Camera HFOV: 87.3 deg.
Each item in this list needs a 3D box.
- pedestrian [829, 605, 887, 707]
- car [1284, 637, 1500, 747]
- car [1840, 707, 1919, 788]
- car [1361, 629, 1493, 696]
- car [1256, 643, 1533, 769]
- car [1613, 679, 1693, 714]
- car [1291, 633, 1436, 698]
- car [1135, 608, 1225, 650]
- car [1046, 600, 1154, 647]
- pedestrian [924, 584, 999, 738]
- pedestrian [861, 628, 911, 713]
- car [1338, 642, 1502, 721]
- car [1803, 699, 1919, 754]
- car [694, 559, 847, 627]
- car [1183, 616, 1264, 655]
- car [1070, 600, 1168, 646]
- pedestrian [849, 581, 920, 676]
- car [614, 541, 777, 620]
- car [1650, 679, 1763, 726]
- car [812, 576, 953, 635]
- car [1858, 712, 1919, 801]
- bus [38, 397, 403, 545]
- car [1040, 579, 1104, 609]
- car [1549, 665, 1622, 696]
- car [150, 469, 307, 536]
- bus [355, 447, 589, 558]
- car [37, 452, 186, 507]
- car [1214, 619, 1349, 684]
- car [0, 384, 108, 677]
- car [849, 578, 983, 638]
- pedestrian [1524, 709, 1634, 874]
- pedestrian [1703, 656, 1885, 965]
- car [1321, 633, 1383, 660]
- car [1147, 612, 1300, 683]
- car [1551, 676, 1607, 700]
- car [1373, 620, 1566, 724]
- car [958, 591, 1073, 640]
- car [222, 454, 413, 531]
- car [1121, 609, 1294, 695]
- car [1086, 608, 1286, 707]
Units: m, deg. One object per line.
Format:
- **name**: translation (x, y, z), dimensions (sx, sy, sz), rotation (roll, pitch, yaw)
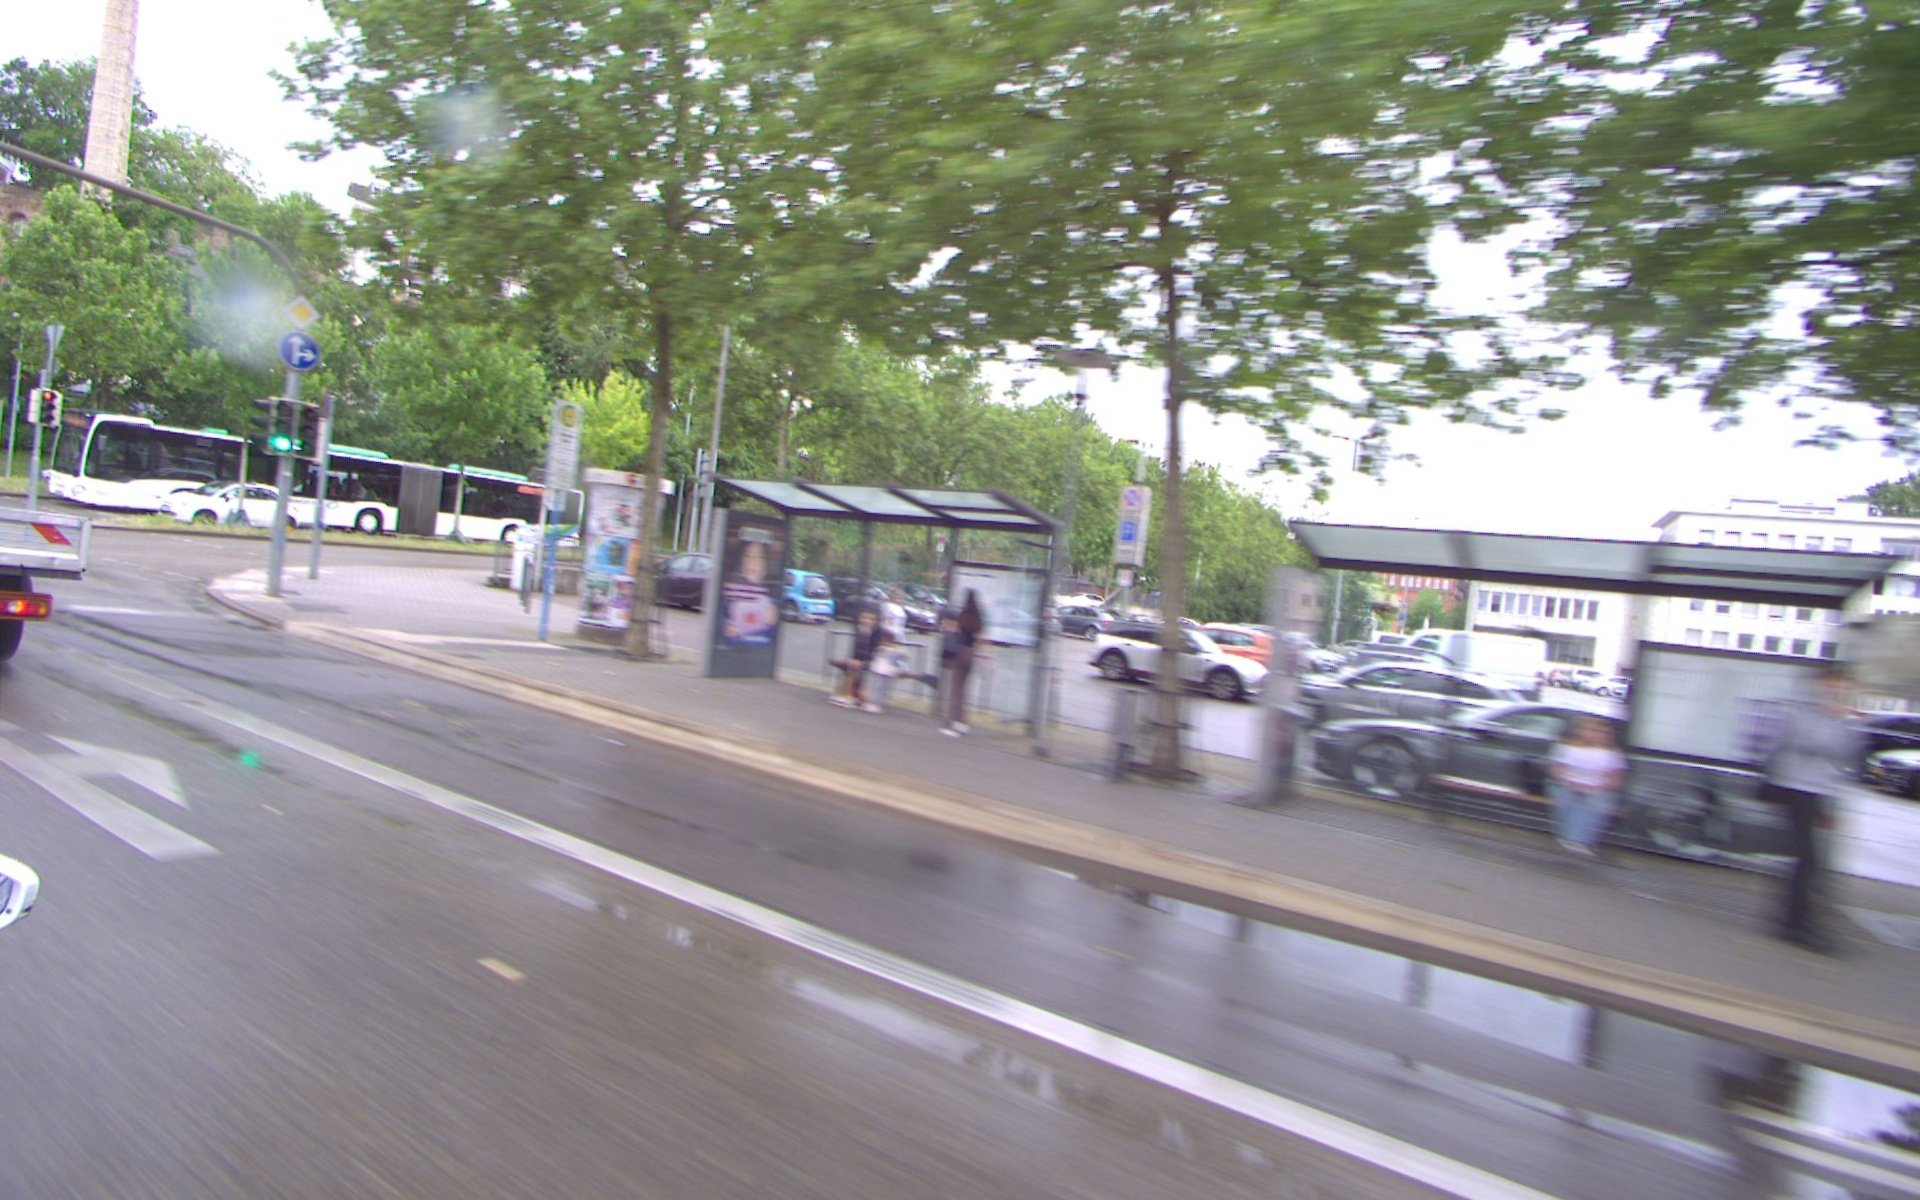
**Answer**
- **pedestrian**: translation (-1.351, 0.745, 13.404), dimensions (0.395, 1.287, 0.499), rotation (9, 2, 31)
- **car**: translation (9.211, 1.881, 21.534), dimensions (3.930, 1.611, 1.759), rotation (9, 3, 28)
- **car**: translation (22.120, 3.489, 22.244), dimensions (3.569, 1.524, 1.529), rotation (9, 3, 28)
- **car**: translation (17.799, 2.326, 38.419), dimensions (4.287, 1.854, 1.831), rotation (9, 3, 27)
- **car**: translation (7.949, 1.845, 18.604), dimensions (4.367, 1.459, 1.735), rotation (9, 3, 28)
- **car**: translation (37.018, 5.154, 53.815), dimensions (3.300, 1.252, 1.528), rotation (9, 3, 32)
- **car**: translation (11.537, 1.837, 28.782), dimensions (3.569, 1.252, 1.529), rotation (9, 3, 28)
- **car**: translation (11.871, 1.567, 54.419), dimensions (4.199, 1.697, 1.849), rotation (8, 2, 39)
- **car**: translation (6.127, 1.032, 44.113), dimensions (4.188, 1.459, 1.853), rotation (8, 1, 28)
- **pedestrian**: translation (0.006, 0.711, 11.852), dimensions (0.533, 1.717, 0.553), rotation (7, 2, -16)
- **pedestrian**: translation (-0.963, 0.920, 13.137), dimensions (0.364, 1.048, 0.400), rotation (9, 2, 31)
- **car**: translation (10.837, 1.872, 23.758), dimensions (3.297, 1.252, 1.529), rotation (9, 3, 28)
- **car**: translation (34.114, 4.750, 37.620), dimensions (3.536, 1.535, 1.638), rotation (7, 0, 28)
- **car**: translation (-5.695, -0.209, 30.200), dimensions (4.188, 1.459, 1.853), rotation (8, 1, 28)
- **car**: translation (15.095, 2.030, 57.663), dimensions (3.958, 1.697, 1.849), rotation (8, 2, 39)
- **car**: translation (7.631, 1.113, 48.474), dimensions (4.199, 1.632, 1.849), rotation (8, 2, 39)
- **pedestrian**: translation (-1.417, 0.541, 18.849), dimensions (0.847, 1.653, 0.766), rotation (9, 2, 31)
- **car**: translation (-7.436, -0.557, 28.208), dimensions (4.188, 1.633, 1.802), rotation (8, 2, 28)
- **car**: translation (30.602, 4.183, 41.334), dimensions (3.293, 1.252, 1.531), rotation (8, 2, 20)
- **car**: translation (-2.561, 0.171, 33.001), dimensions (4.188, 1.372, 1.853), rotation (8, 1, 28)
- **car**: translation (20.667, 3.400, 19.862), dimensions (3.986, 1.585, 1.613), rotation (9, 3, 33)
- **bus**: translation (-24.765, -4.169, 34.519), dimensions (2.659, 3.257, 9.640), rotation (9, 1, 30)
- **car**: translation (8.306, -0.445, 74.493), dimensions (4.843, 1.674, 1.975), rotation (6, 2, -44)
- **car**: translation (41.751, 5.365, 67.201), dimensions (3.860, 1.565, 1.639), rotation (7, 0, 27)
- **car**: translation (-22.783, -2.996, 31.452), dimensions (1.563, 1.470, 3.562), rotation (9, 2, 29)
- **bus**: translation (-20.191, -3.942, 42.333), dimensions (2.643, 3.220, 8.541), rotation (9, 2, 31)
- **car**: translation (-31.170, -4.401, 37.042), dimensions (4.065, 1.392, 1.774), rotation (5, 2, -42)
- **car**: translation (10.939, 1.727, 34.299), dimensions (3.934, 1.587, 1.757), rotation (9, 3, 33)
- **car**: translation (-9.525, -0.791, 8.370), dimensions (5.451, 2.114, 2.104), rotation (6, 0, 33)
- **car**: translation (-1.552, 0.273, 35.108), dimensions (4.188, 1.499, 1.853), rotation (8, 2, 28)
- **pedestrian**: translation (5.596, 1.704, 9.096), dimensions (0.617, 1.338, 0.630), rotation (6, 0, 43)
- **pedestrian**: translation (5.664, 1.370, 6.832), dimensions (0.747, 1.864, 0.730), rotation (6, 0, 44)
- **car**: translation (28.436, 3.383, 73.050), dimensions (3.758, 1.440, 1.695), rotation (8, 2, 36)
- **car**: translation (7.865, 1.389, 30.136), dimensions (3.934, 1.468, 1.757), rotation (9, 3, 33)
- **car**: translation (53.360, 7.566, 86.776), dimensions (3.860, 1.565, 1.639), rotation (7, 0, 27)
- **car**: translation (15.629, 2.135, 31.145), dimensions (4.923, 2.350, 1.970), rotation (9, 3, 25)
- **car**: translation (2.237, 0.616, 41.028), dimensions (4.188, 1.415, 1.853), rotation (8, 1, 28)
- **car**: translation (-26.455, -4.397, 41.625), dimensions (6.295, 2.264, 2.228), rotation (5, 3, -42)
- **car**: translation (6.477, 1.318, 26.409), dimensions (3.930, 1.611, 1.759), rotation (9, 3, 28)
- **car**: translation (5.290, 1.301, 23.625), dimensions (4.104, 1.611, 1.759), rotation (9, 3, 28)
